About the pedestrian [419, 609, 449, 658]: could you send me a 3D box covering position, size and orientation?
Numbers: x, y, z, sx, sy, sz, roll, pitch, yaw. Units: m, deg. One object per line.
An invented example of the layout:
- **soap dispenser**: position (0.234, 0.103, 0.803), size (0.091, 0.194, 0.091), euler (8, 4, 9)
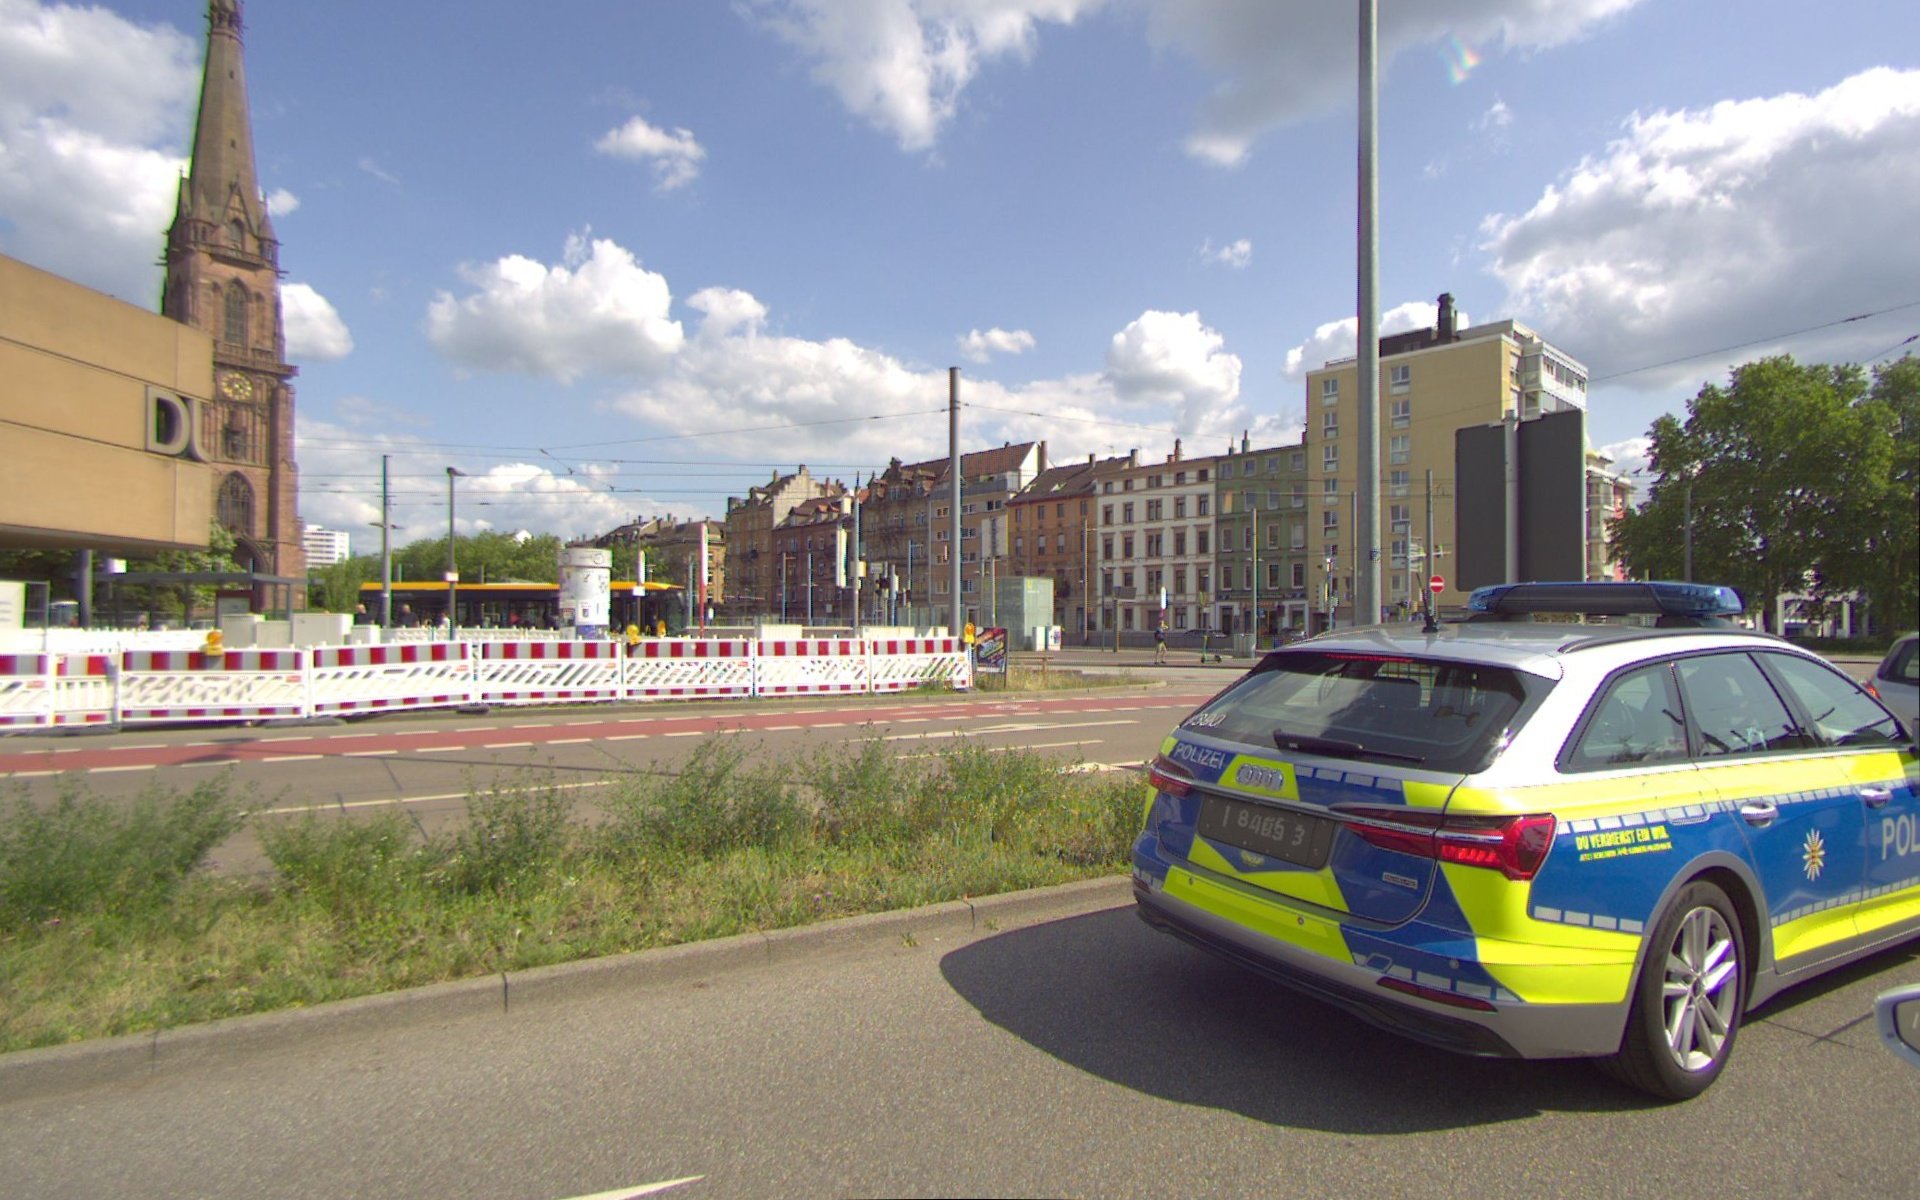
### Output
- **pedestrian**: position (-18.070, 1.160, 34.515), size (0.640, 1.653, 0.765), euler (1, -1, -4)

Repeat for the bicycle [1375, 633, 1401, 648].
- **bicycle**: position (33.772, 3.200, 79.234), size (1.783, 1.118, 0.792), euler (0, -1, 42)

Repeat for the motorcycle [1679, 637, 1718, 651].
- **motorcycle**: position (50.424, 2.973, 68.568), size (2.003, 0.929, 0.812), euler (-1, -1, 7)

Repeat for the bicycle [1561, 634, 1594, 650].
- **bicycle**: position (44.786, 3.028, 72.828), size (1.922, 1.162, 0.792), euler (-1, -1, 43)

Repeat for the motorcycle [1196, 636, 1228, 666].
- **motorcycle**: position (10.616, 2.148, 42.331), size (0.478, 1.253, 1.437), euler (2, -2, -27)

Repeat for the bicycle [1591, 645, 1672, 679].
- **bicycle**: position (24.635, 2.253, 36.883), size (0.984, 1.204, 2.281), euler (2, -3, -32)

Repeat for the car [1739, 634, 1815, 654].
- **car**: position (59.117, 3.170, 72.747), size (1.615, 1.344, 3.967), euler (3, -3, -31)

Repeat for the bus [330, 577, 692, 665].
- **bus**: position (-16.946, 0.809, 38.430), size (12.585, 3.177, 2.835), euler (0, -1, 1)

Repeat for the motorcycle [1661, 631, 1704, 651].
- **motorcycle**: position (46.846, 2.662, 65.158), size (0.890, 1.254, 2.214), euler (0, -1, -12)

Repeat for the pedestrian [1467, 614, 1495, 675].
- **pedestrian**: position (16.953, 1.424, 32.661), size (0.753, 1.928, 0.825), euler (2, 0, 29)

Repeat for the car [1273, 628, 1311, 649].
- **car**: position (25.141, 2.914, 76.213), size (1.861, 1.516, 3.902), euler (1, -2, 4)

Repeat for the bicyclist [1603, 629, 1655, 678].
- **bicyclist**: position (24.596, 1.948, 36.958), size (0.984, 1.753, 1.290), euler (2, -2, -32)

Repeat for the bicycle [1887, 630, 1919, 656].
- **bicycle**: position (54.445, 2.443, 57.374), size (0.807, 1.433, 2.146), euler (0, 0, -44)

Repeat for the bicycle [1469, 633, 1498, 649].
- **bicycle**: position (38.606, 3.013, 74.043), size (1.783, 1.118, 0.792), euler (0, -1, 42)

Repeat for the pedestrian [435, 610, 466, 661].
- **pedestrian**: position (-17.091, 1.189, 33.717), size (0.640, 1.653, 0.766), euler (1, -1, -2)

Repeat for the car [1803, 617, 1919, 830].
- **car**: position (8.584, 0.907, 7.865), size (3.953, 1.494, 1.839), euler (1, -2, -30)

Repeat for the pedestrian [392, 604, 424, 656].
- **pedestrian**: position (-17.750, 0.971, 32.316), size (0.760, 1.653, 0.645), euler (2, -1, -41)

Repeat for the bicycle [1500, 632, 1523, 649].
- **bicycle**: position (40.708, 2.978, 74.104), size (1.791, 1.275, 0.789), euler (1, -1, -34)

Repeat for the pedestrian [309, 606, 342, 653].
- **pedestrian**: position (-22.626, 1.046, 35.834), size (0.751, 1.653, 0.652), euler (1, -1, -4)

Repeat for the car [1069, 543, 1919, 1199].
- **car**: position (2.860, 0.717, 4.434), size (4.562, 1.589, 1.871), euler (1, -2, -31)

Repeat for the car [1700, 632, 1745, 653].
- **car**: position (55.418, 3.111, 73.016), size (3.970, 1.432, 1.888), euler (4, -4, -42)

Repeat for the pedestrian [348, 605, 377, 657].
- **pedestrian**: position (-19.313, 0.996, 32.475), size (0.549, 1.651, 0.732), euler (1, -1, -7)

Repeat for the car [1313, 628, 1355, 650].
- **car**: position (27.325, 2.850, 73.555), size (1.861, 1.516, 3.902), euler (1, -2, 4)

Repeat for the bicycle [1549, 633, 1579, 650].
- **bicycle**: position (43.547, 2.975, 72.408), size (1.784, 1.162, 0.792), euler (0, -1, 43)

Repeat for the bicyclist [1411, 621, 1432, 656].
- **bicyclist**: position (24.414, 2.038, 53.156), size (0.768, 1.821, 0.706), euler (2, 0, 42)

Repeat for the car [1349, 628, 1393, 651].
- **car**: position (29.679, 2.865, 72.584), size (1.861, 1.516, 3.903), euler (1, -2, 5)

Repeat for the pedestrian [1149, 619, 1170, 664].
- **pedestrian**: position (8.410, 1.746, 42.325), size (0.752, 1.821, 1.029), euler (2, 0, 15)
